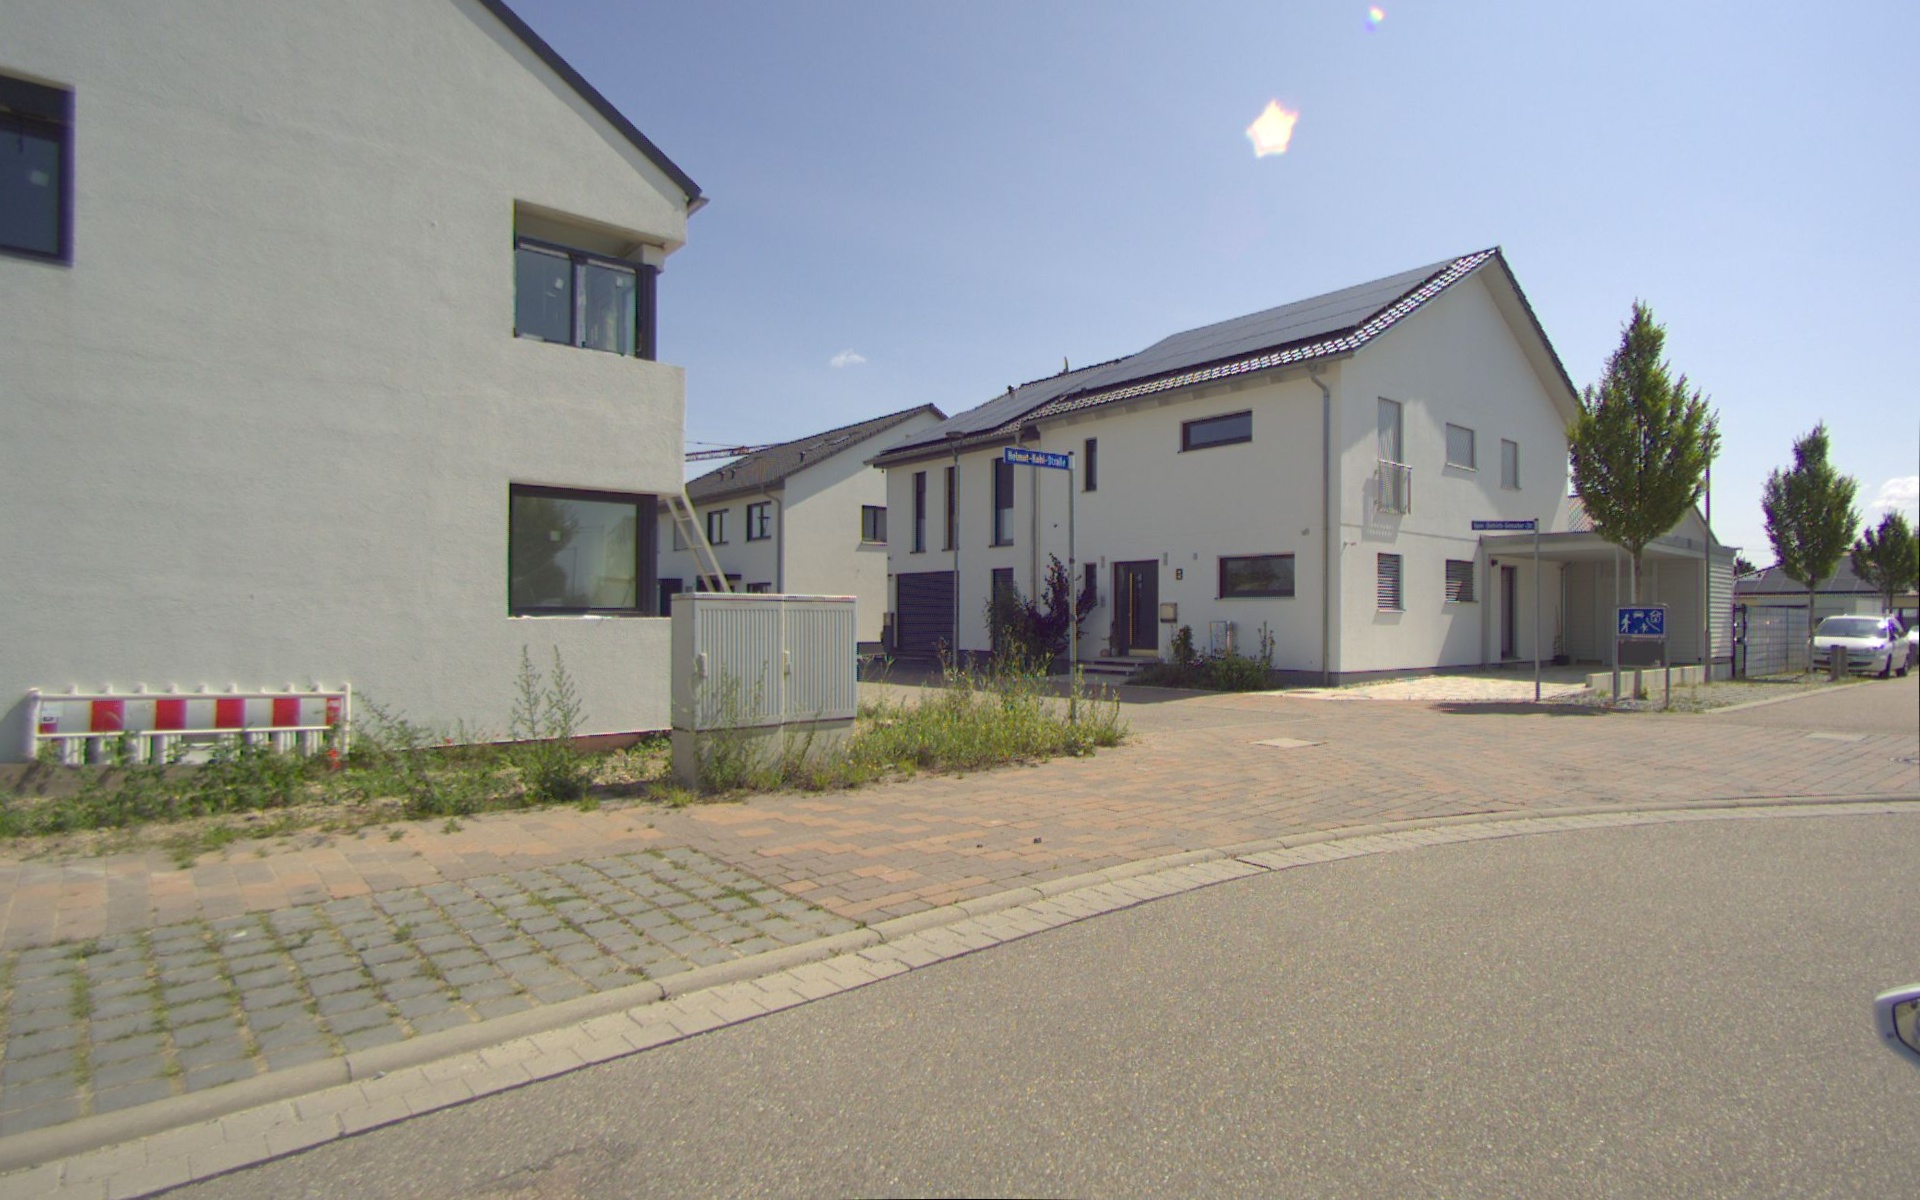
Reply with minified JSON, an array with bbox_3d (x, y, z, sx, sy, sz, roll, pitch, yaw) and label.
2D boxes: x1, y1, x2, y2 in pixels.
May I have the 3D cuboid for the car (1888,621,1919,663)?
[{"bbox_3d":[40.383,1.761,41.824,4.447,1.635,1.977,2,0,-40],"label":"car"}]

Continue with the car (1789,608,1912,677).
[{"bbox_3d":[25.839,1.198,29.092,4.609,1.813,1.977,2,0,-40],"label":"car"}]
